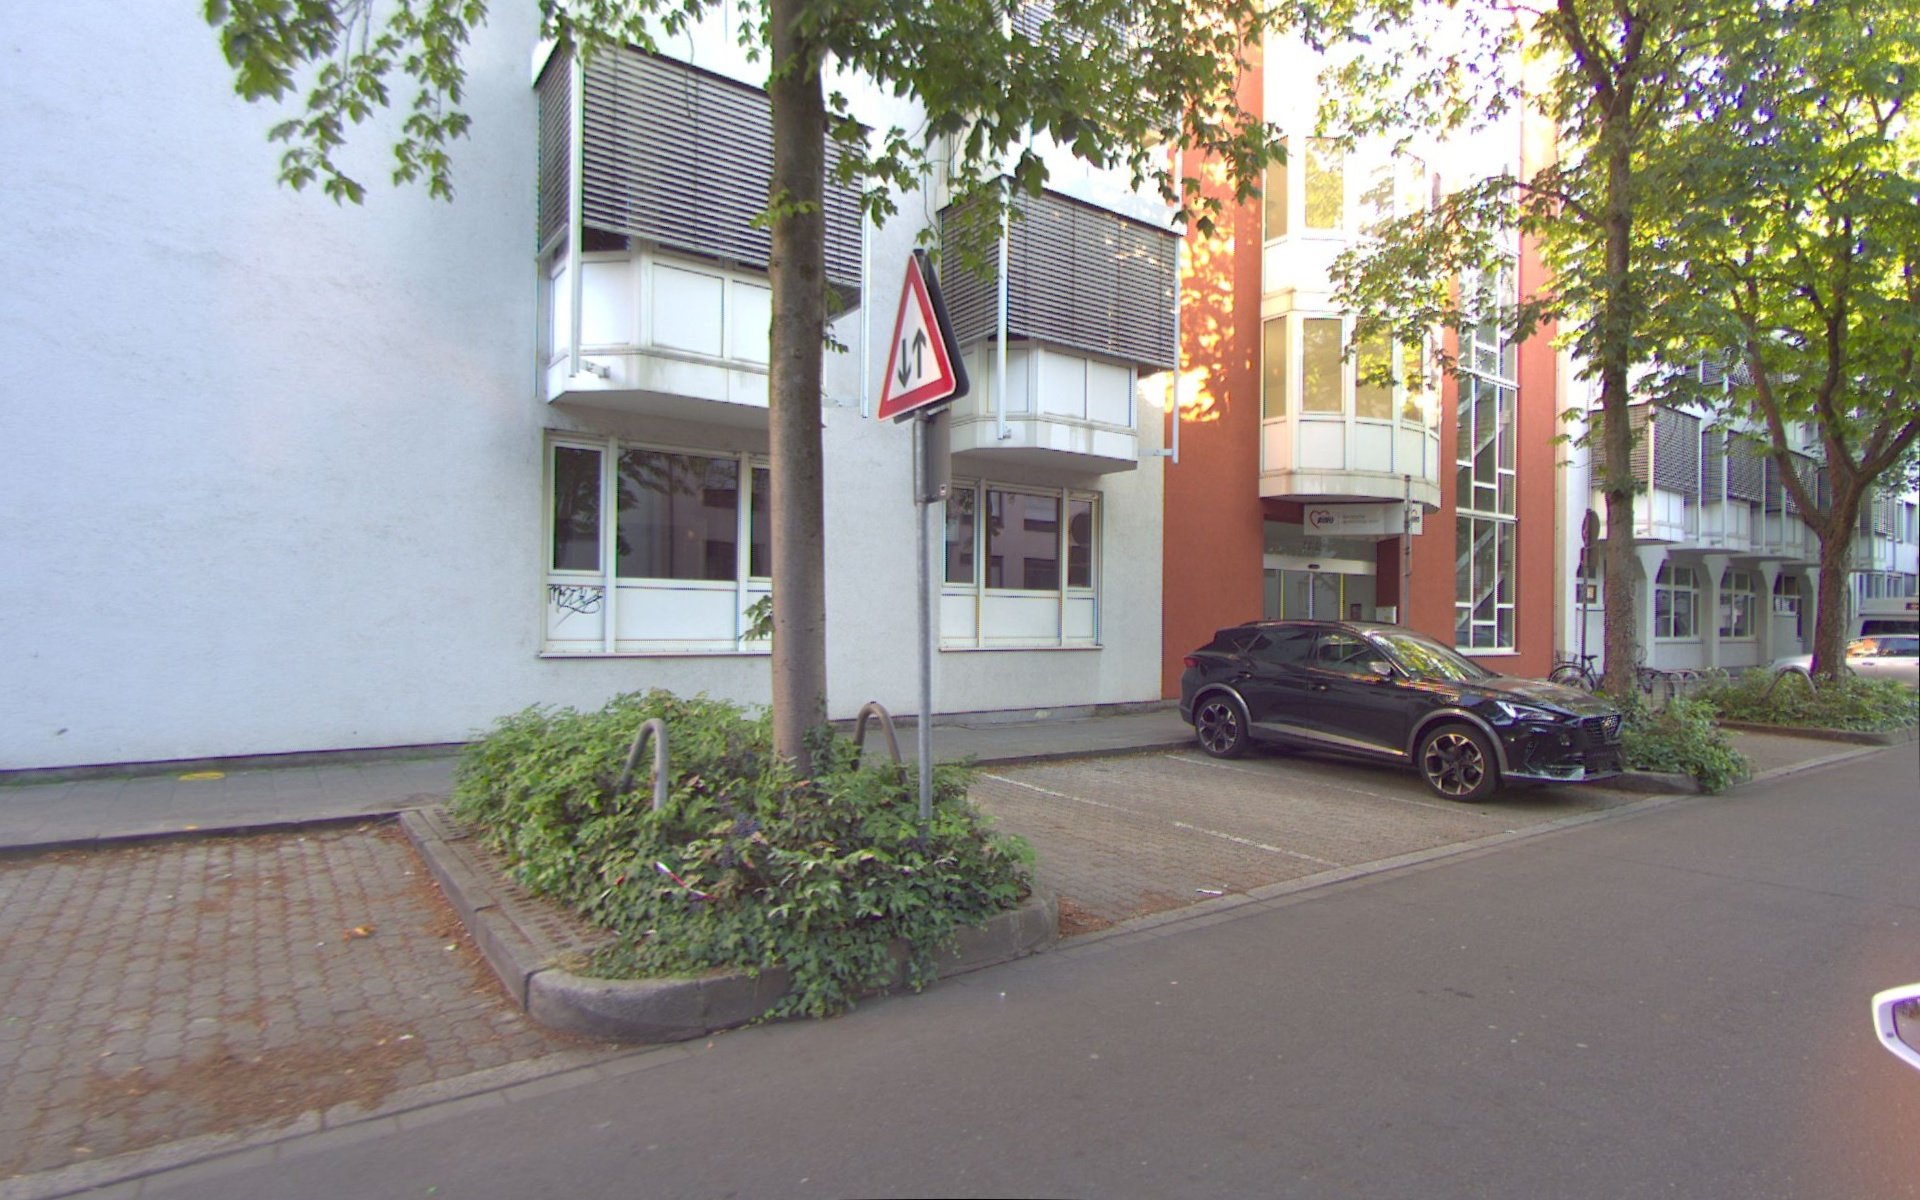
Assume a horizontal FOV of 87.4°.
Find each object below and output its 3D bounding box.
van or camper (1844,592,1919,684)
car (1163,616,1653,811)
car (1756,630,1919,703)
[{"bbox_3d":[27.577,1.057,27.589,1.980,2.511,4.632,1,-1,-35],"label":"van or camper"},{"bbox_3d":[4.291,0.950,10.303,1.767,1.537,4.326,1,-1,-35],"label":"car"},{"bbox_3d":[20.808,1.471,22.828,1.767,1.537,3.943,1,-1,-34],"label":"car"}]
